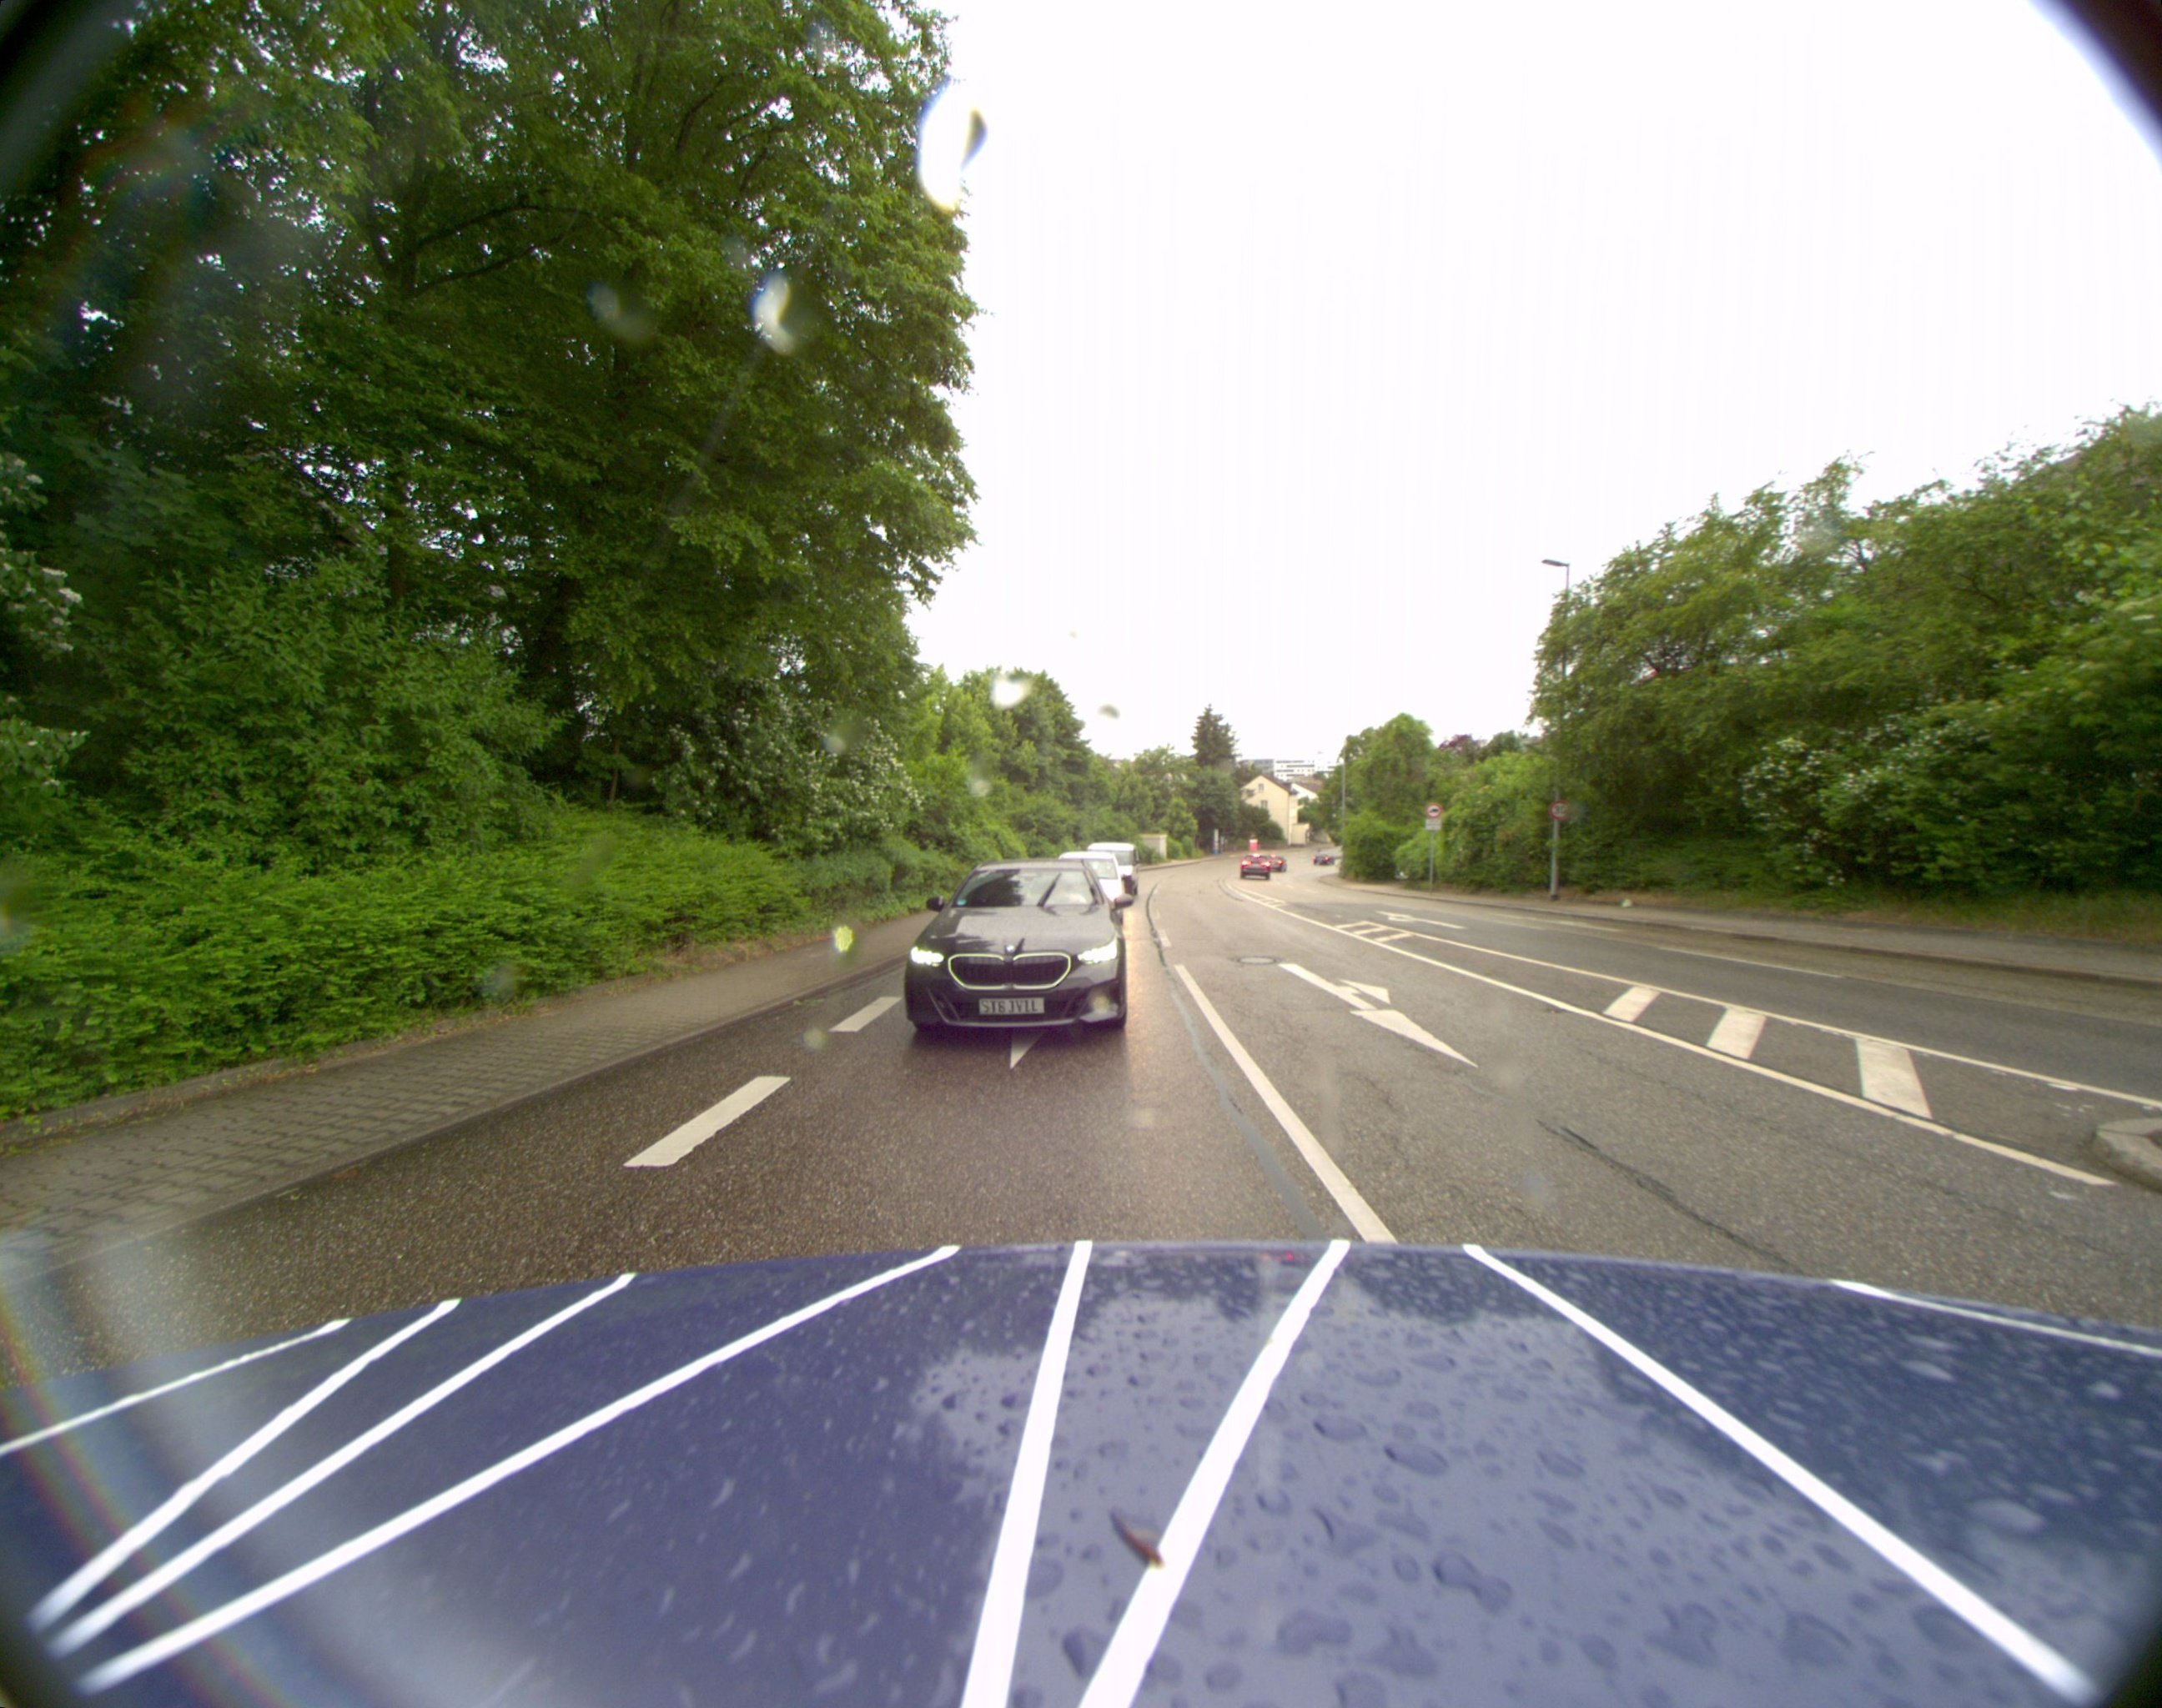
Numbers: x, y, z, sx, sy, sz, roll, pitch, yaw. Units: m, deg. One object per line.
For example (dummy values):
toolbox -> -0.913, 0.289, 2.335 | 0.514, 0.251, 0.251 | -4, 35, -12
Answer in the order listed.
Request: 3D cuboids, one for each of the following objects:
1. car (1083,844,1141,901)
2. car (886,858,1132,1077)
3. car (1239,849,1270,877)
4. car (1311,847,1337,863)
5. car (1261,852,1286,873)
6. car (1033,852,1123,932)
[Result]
car -> 1.122, 0.551, 25.832 | 1.814, 1.797, 4.120 | 0, 1, 4
car -> -0.518, 0.878, 7.842 | 1.867, 1.547, 4.118 | 0, 1, 1
car -> 12.074, 0.601, 52.728 | 1.958, 1.835, 4.004 | 2, 1, 14
car -> 29.334, 0.078, 91.691 | 1.994, 1.903, 4.008 | 0, 0, 32
car -> 18.378, 0.787, 72.435 | 2.129, 2.002, 4.091 | 0, 0, 16
car -> 0.046, 0.760, 17.373 | 1.814, 1.547, 4.120 | 0, 1, 3
